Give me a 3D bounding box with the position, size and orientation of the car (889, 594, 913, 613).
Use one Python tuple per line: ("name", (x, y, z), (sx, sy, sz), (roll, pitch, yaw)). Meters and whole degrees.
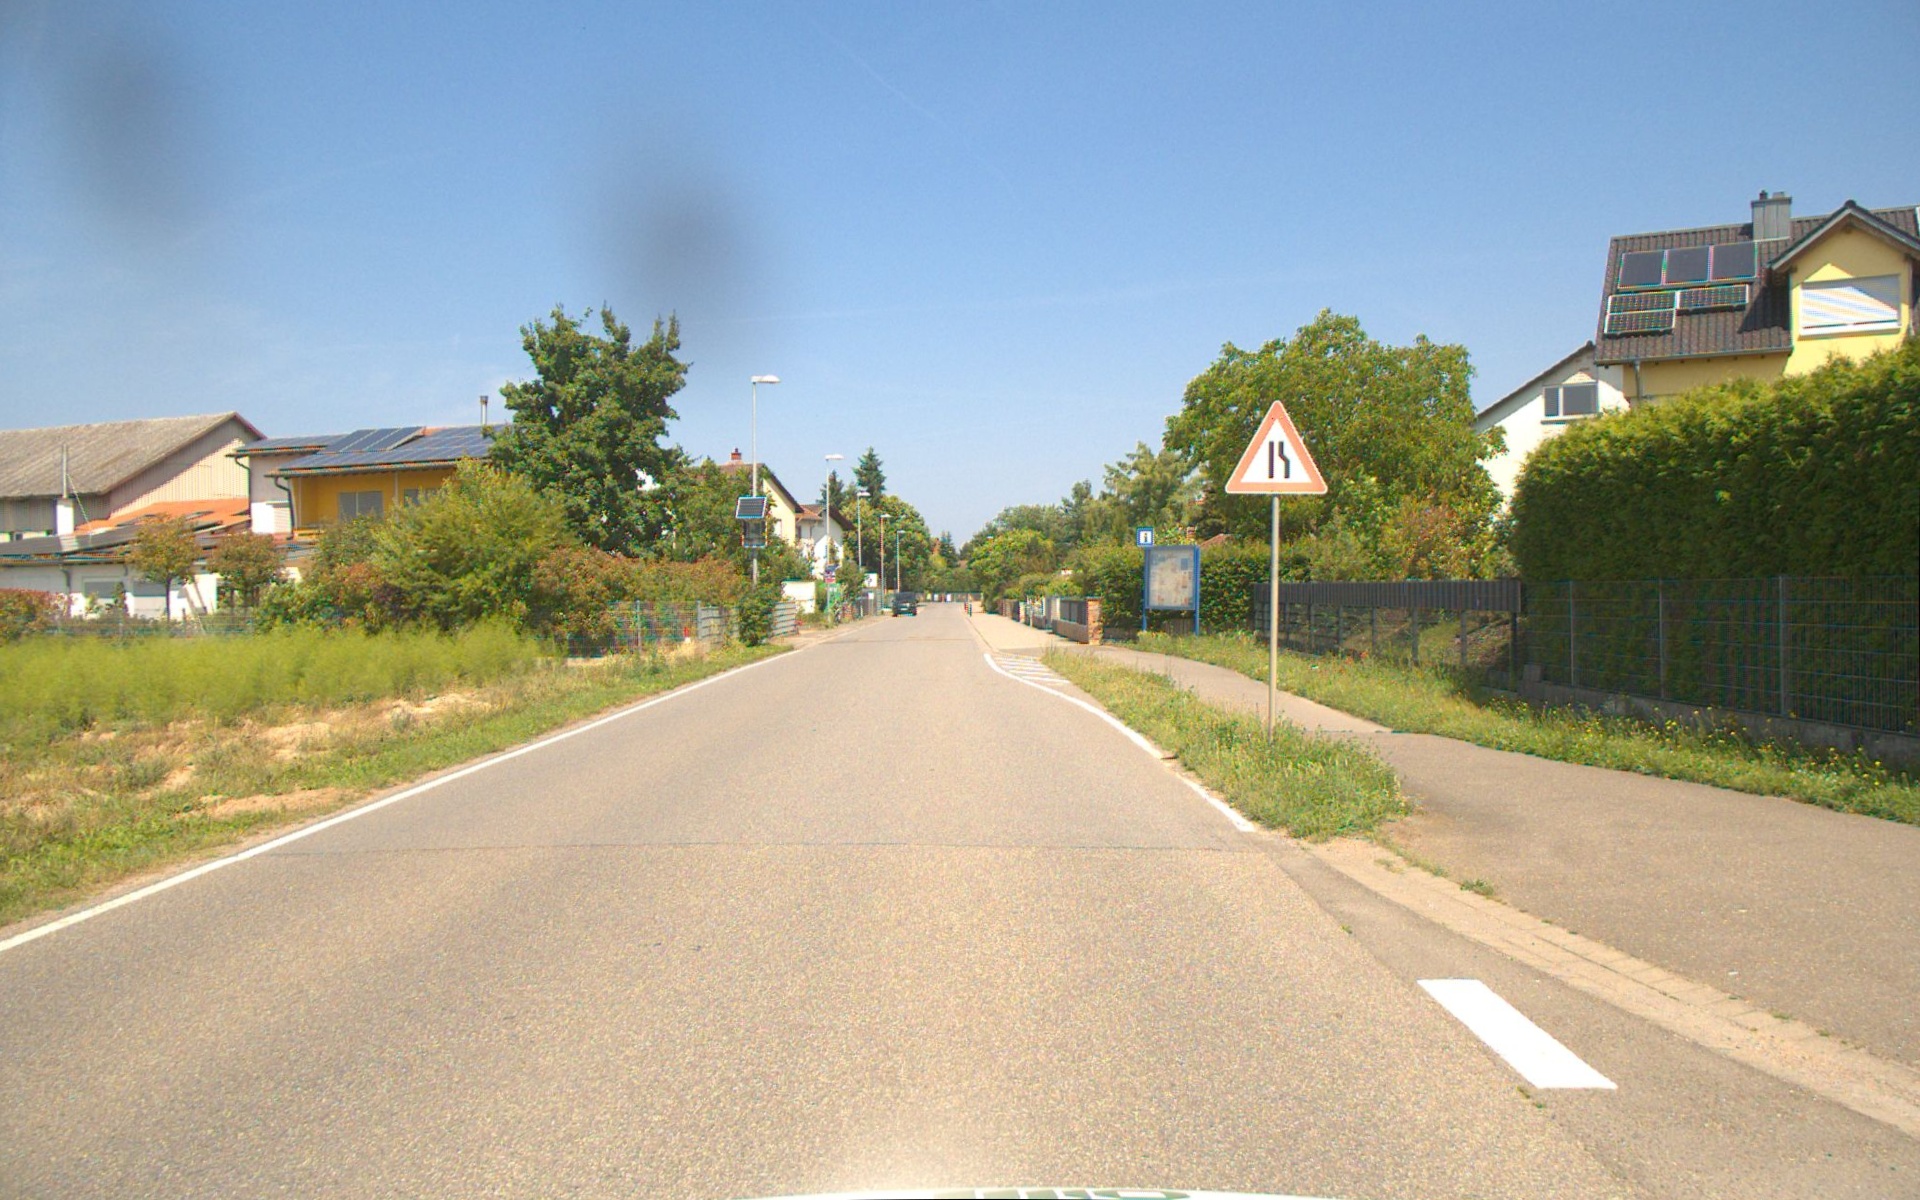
("car", (-4.569, 0.264, 127.527), (1.723, 1.409, 3.452), (-2, 0, -1))
